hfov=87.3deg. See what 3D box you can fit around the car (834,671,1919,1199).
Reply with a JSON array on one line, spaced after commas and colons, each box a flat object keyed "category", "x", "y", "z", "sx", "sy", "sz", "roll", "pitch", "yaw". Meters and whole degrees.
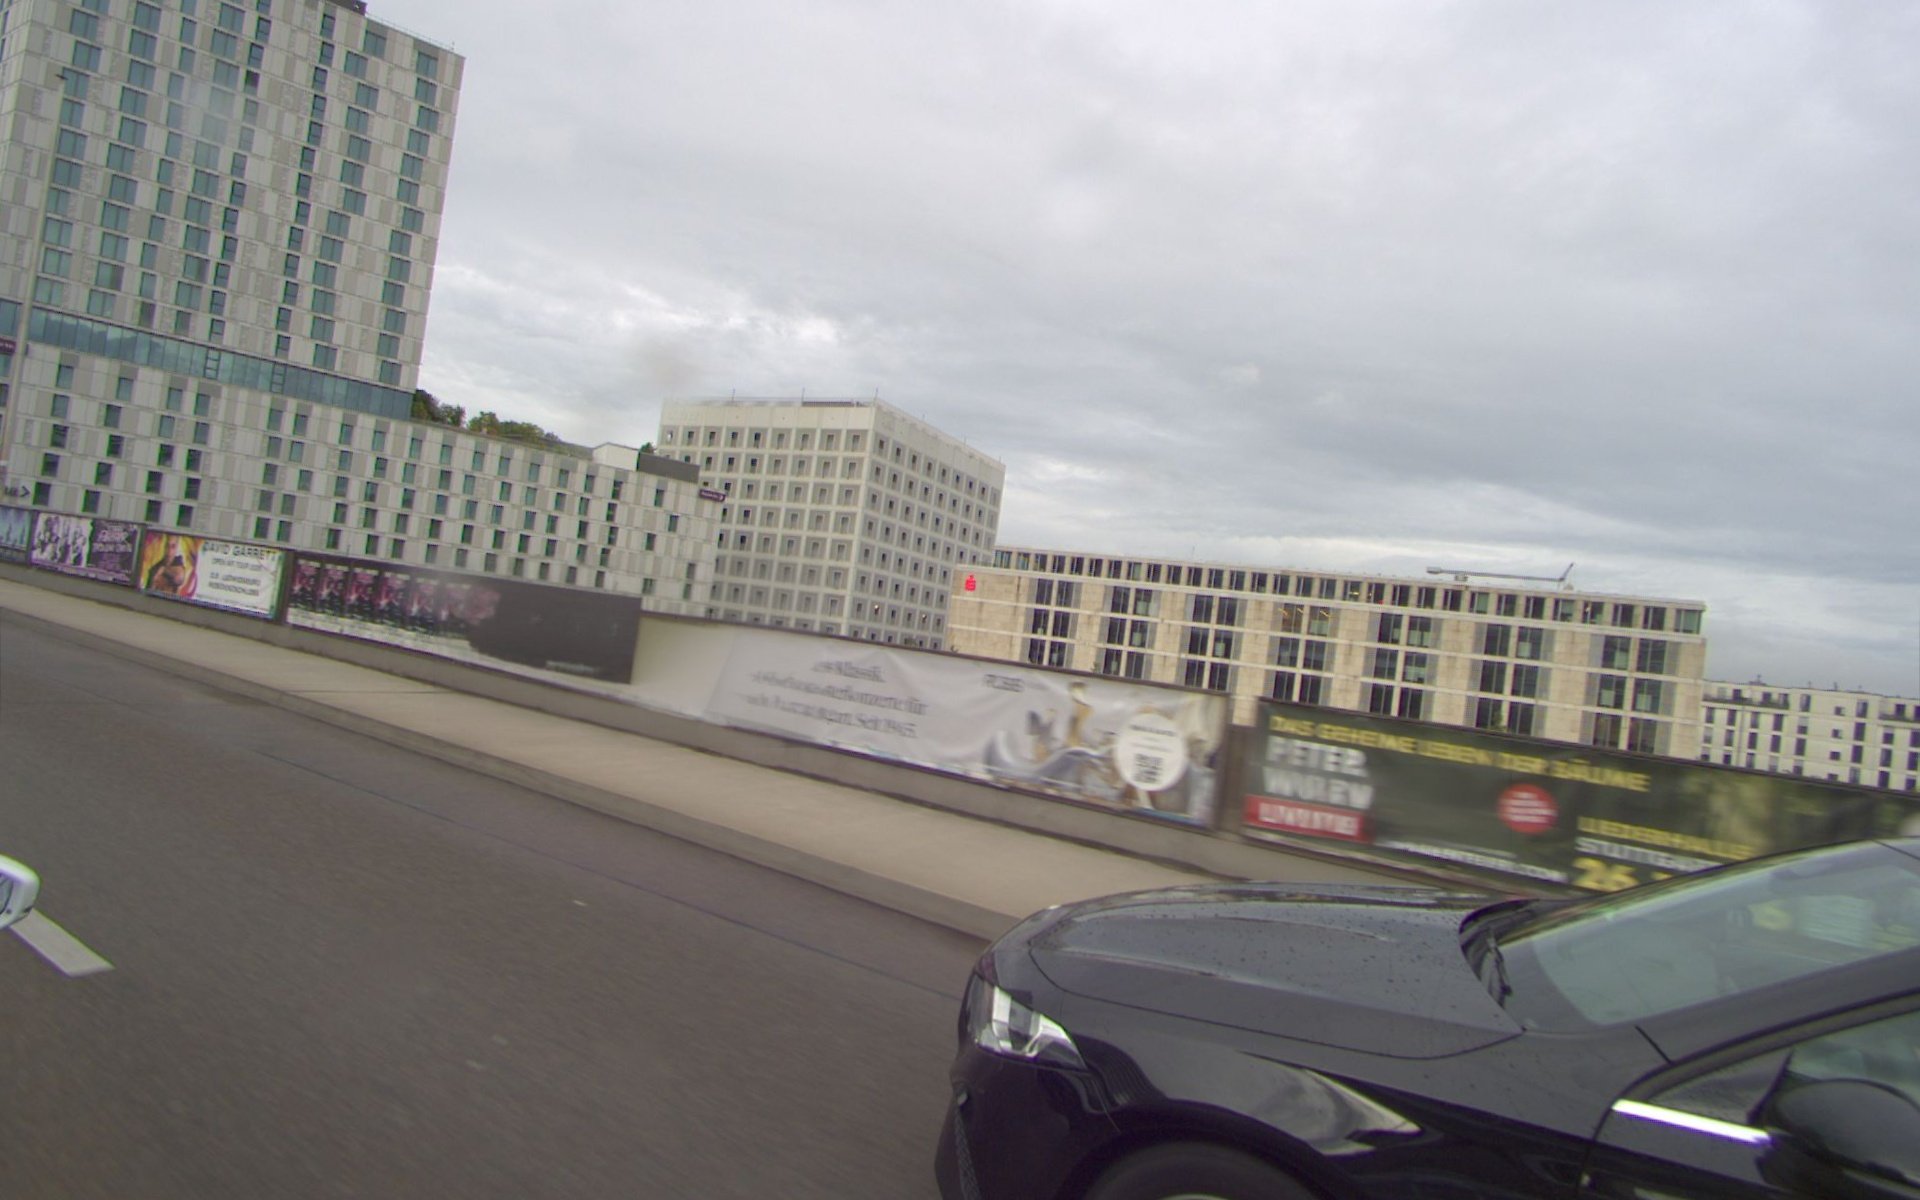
[{"category": "car", "x": 1.950, "y": 1.101, "z": 1.837, "sx": 4.086, "sy": 1.392, "sz": 1.726, "roll": 6, "pitch": -2, "yaw": 31}]
